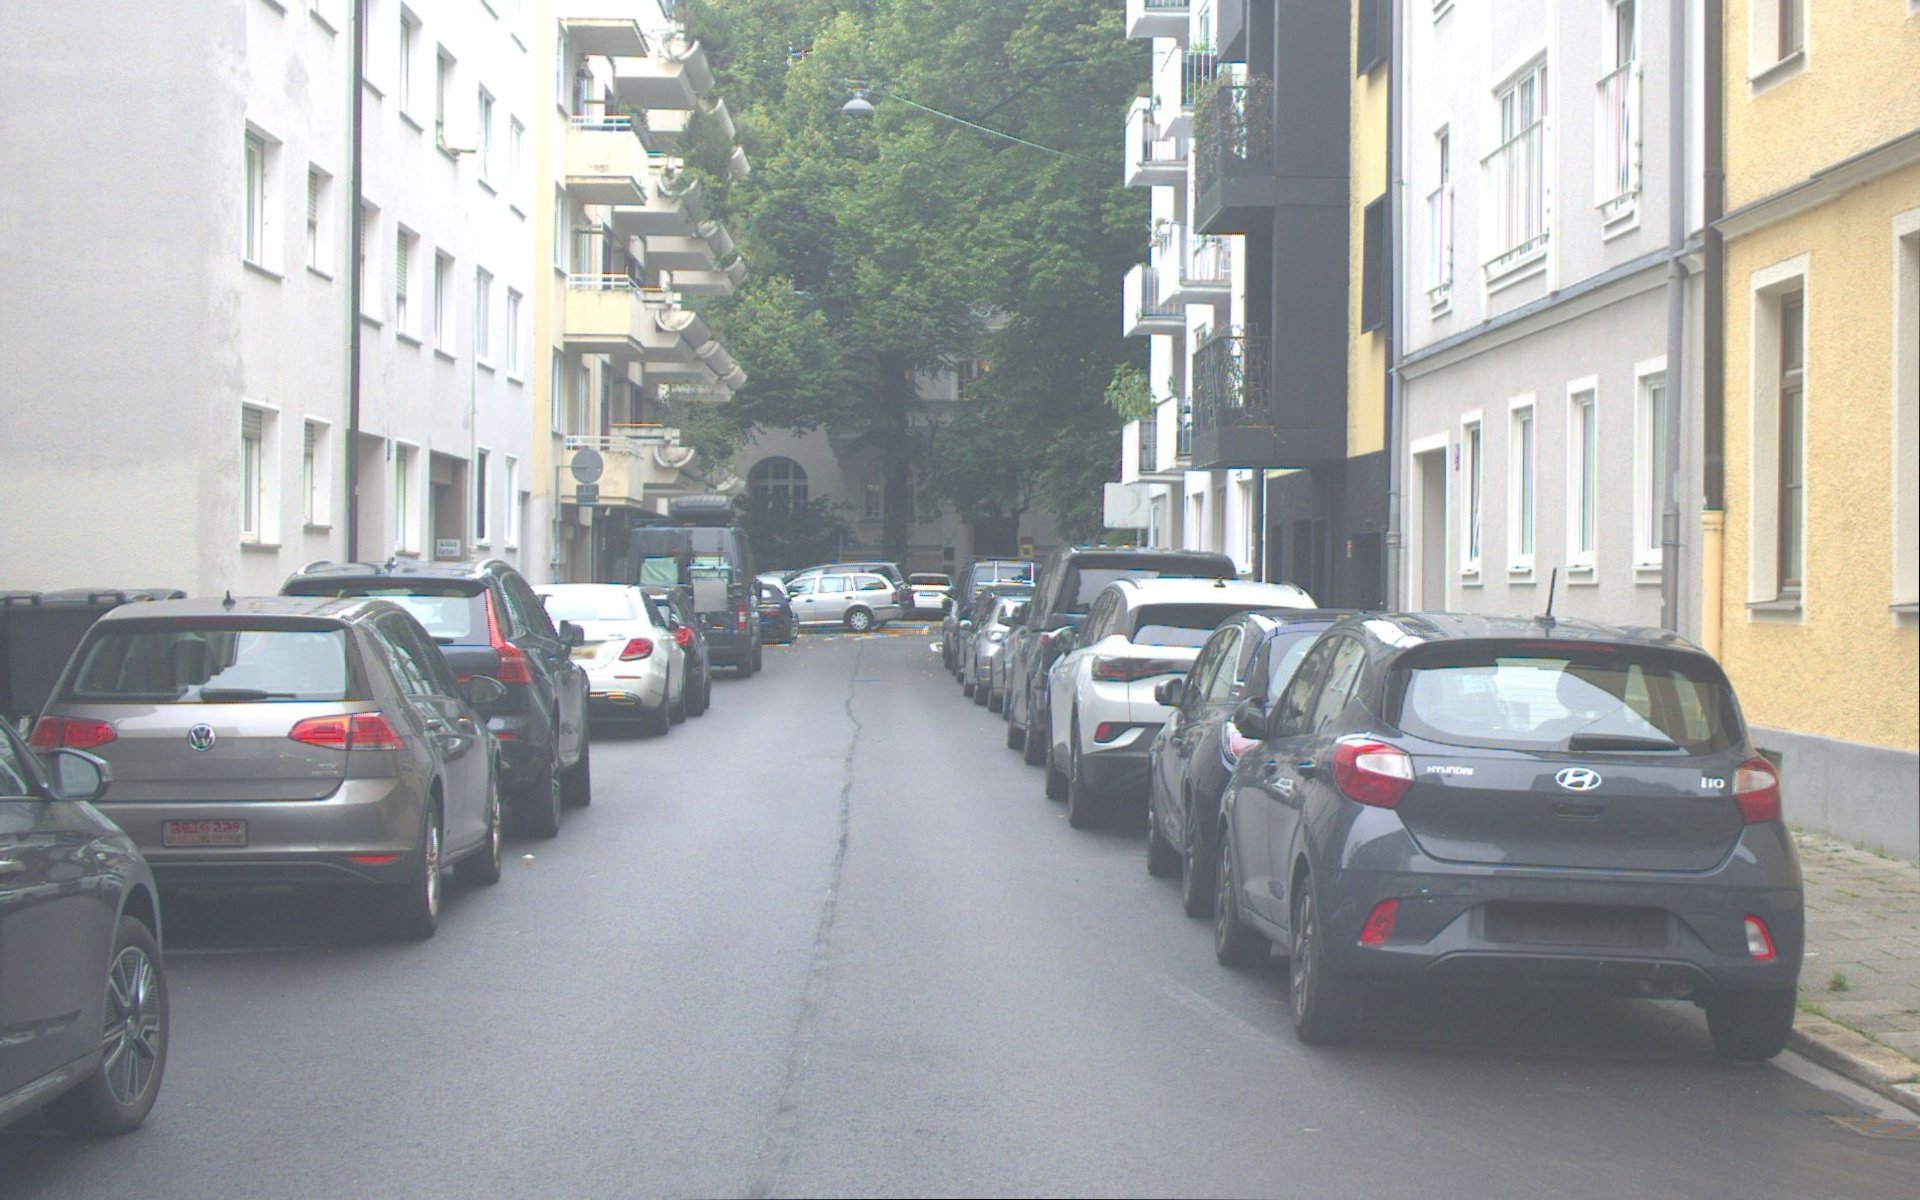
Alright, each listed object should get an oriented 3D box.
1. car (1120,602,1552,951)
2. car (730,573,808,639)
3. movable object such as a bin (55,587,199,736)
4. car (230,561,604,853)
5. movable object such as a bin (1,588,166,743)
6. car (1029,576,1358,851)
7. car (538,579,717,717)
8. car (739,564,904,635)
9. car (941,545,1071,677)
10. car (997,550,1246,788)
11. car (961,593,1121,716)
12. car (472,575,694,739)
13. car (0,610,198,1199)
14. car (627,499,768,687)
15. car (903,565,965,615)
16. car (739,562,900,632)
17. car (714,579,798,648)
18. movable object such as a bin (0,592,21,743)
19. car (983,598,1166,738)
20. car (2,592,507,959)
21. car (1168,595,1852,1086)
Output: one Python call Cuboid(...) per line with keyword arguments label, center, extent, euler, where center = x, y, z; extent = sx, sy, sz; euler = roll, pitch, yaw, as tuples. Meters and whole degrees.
Cuboid(label="car", center=(1.813, 0.811, 17.663), extent=(1.663, 1.464, 3.819), euler=(3, 1, -1))
Cuboid(label="car", center=(-4.258, 0.111, 76.947), extent=(1.642, 1.379, 3.483), euler=(-2, 1, -2))
Cuboid(label="movable object such as a bin", center=(-7.722, 0.562, 31.905), extent=(1.047, 1.332, 0.993), euler=(-1, 0, 1))
Cuboid(label="car", center=(-3.274, 0.578, 21.489), extent=(1.776, 1.624, 4.415), euler=(0, 1, -2))
Cuboid(label="movable object such as a bin", center=(-7.844, 0.573, 30.825), extent=(1.166, 1.332, 1.025), euler=(-1, 0, 1))
Cuboid(label="car", center=(1.473, 0.680, 23.216), extent=(1.682, 1.562, 4.416), euler=(3, 1, -2))
Cuboid(label="car", center=(-3.790, 0.510, 39.744), extent=(1.776, 1.448, 4.046), euler=(-2, 1, -2))
Cuboid(label="car", center=(-3.348, -0.017, 83.072), extent=(3.885, 1.579, 1.648), euler=(-2, 0, -3))
Cuboid(label="car", center=(0.728, 0.162, 57.372), extent=(1.829, 1.992, 4.416), euler=(4, 0, -2))
Cuboid(label="car", center=(1.372, 0.551, 30.855), extent=(1.829, 1.903, 4.416), euler=(3, 1, -2))
Cuboid(label="car", center=(1.056, 0.705, 46.893), extent=(1.829, 1.449, 4.416), euler=(4, 0, -2))
Cuboid(label="car", center=(-3.730, 0.522, 34.680), extent=(1.776, 1.482, 4.519), euler=(-2, 1, -1))
Cuboid(label="car", center=(-3.056, 0.772, 8.126), extent=(1.693, 1.437, 3.942), euler=(0, 1, -1))
Cuboid(label="car", center=(-4.104, -0.130, 54.370), extent=(1.936, 2.792, 4.533), euler=(-2, 1, -2))
Cuboid(label="car", center=(-0.777, -0.297, 100.225), extent=(1.642, 1.379, 3.746), euler=(-2, 1, -2))
Cuboid(label="car", center=(-3.481, -0.085, 85.042), extent=(3.885, 1.579, 1.648), euler=(-2, 0, -3))
Cuboid(label="car", center=(-4.318, 0.269, 73.141), extent=(1.642, 1.379, 3.483), euler=(-2, 1, -2))
Cuboid(label="movable object such as a bin", center=(-9.089, 0.611, 30.571), extent=(1.158, 1.332, 0.993), euler=(-1, 0, 1))
Cuboid(label="car", center=(1.324, 0.780, 41.494), extent=(1.829, 1.449, 4.416), euler=(4, 0, -2))
Cuboid(label="car", center=(-3.091, 0.698, 15.798), extent=(1.693, 1.437, 3.978), euler=(0, 1, -3))
Cuboid(label="car", center=(1.932, 0.786, 13.411), extent=(1.751, 1.464, 4.343), euler=(3, 1, -2))
